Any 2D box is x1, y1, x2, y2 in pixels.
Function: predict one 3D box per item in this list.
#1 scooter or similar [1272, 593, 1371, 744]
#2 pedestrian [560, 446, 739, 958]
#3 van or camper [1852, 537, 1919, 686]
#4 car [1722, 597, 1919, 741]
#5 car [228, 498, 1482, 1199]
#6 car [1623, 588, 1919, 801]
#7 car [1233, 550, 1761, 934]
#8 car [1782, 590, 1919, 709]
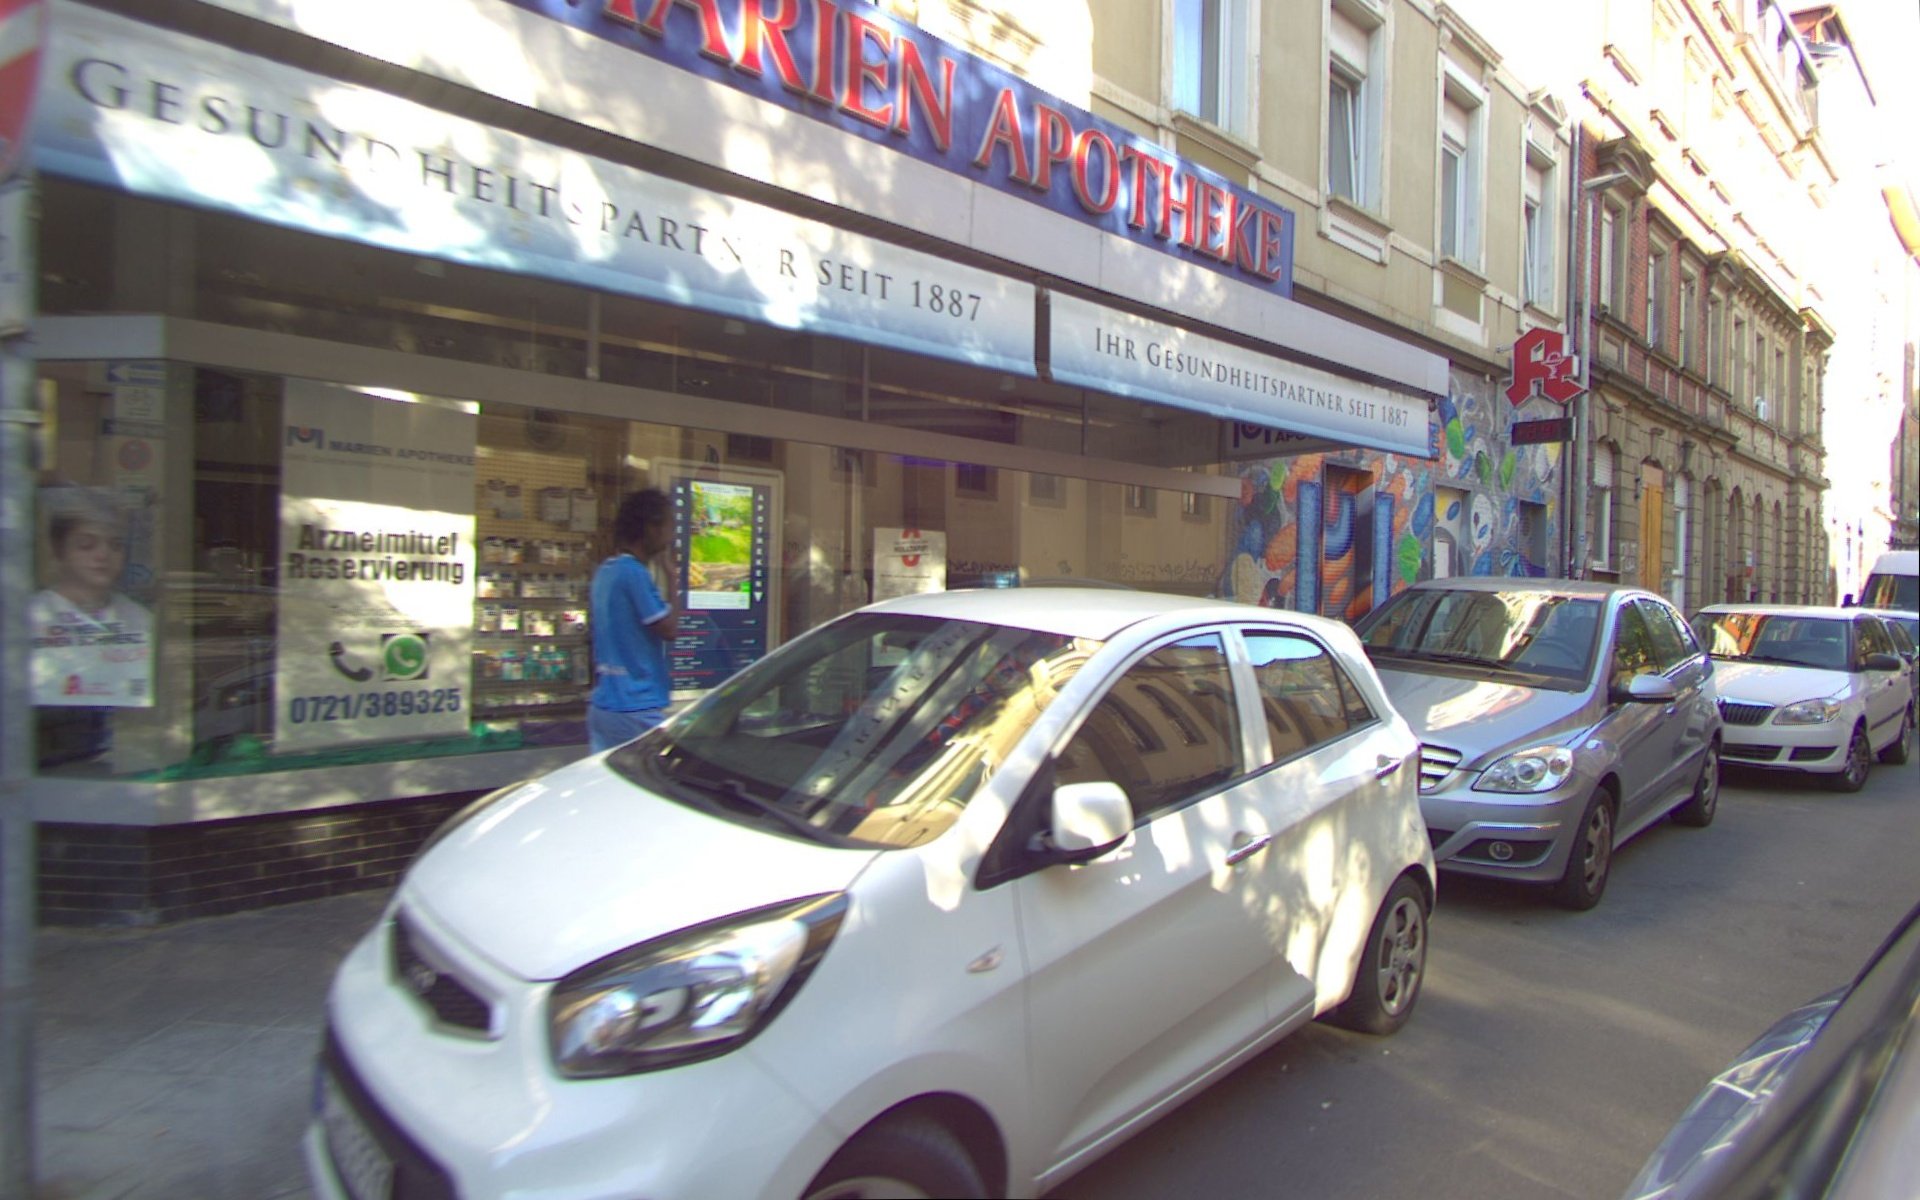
[{"bbox_3d":[3.292,0.588,9.185,1.019,1.296,0.395,0,0,-41],"label":"scooter or similar"},{"bbox_3d":[-1.285,0.380,4.180,0.521,1.918,0.562,0,0,-41],"label":"pedestrian"},{"bbox_3d":[19.365,0.175,19.879,5.875,2.665,1.997,-1,0,-41],"label":"van or camper"},{"bbox_3d":[11.085,0.730,12.659,3.842,1.505,1.590,-1,0,-39],"label":"car"},{"bbox_3d":[0.065,0.594,3.116,3.581,1.481,1.690,-1,0,-44],"label":"car"},{"bbox_3d":[7.703,0.674,9.361,4.127,1.546,1.557,-1,0,-41],"label":"car"},{"bbox_3d":[3.575,0.596,6.390,3.995,1.671,1.702,-1,0,-42],"label":"car"},{"bbox_3d":[14.929,0.688,16.196,4.484,1.667,1.997,-1,0,-41],"label":"car"}]
